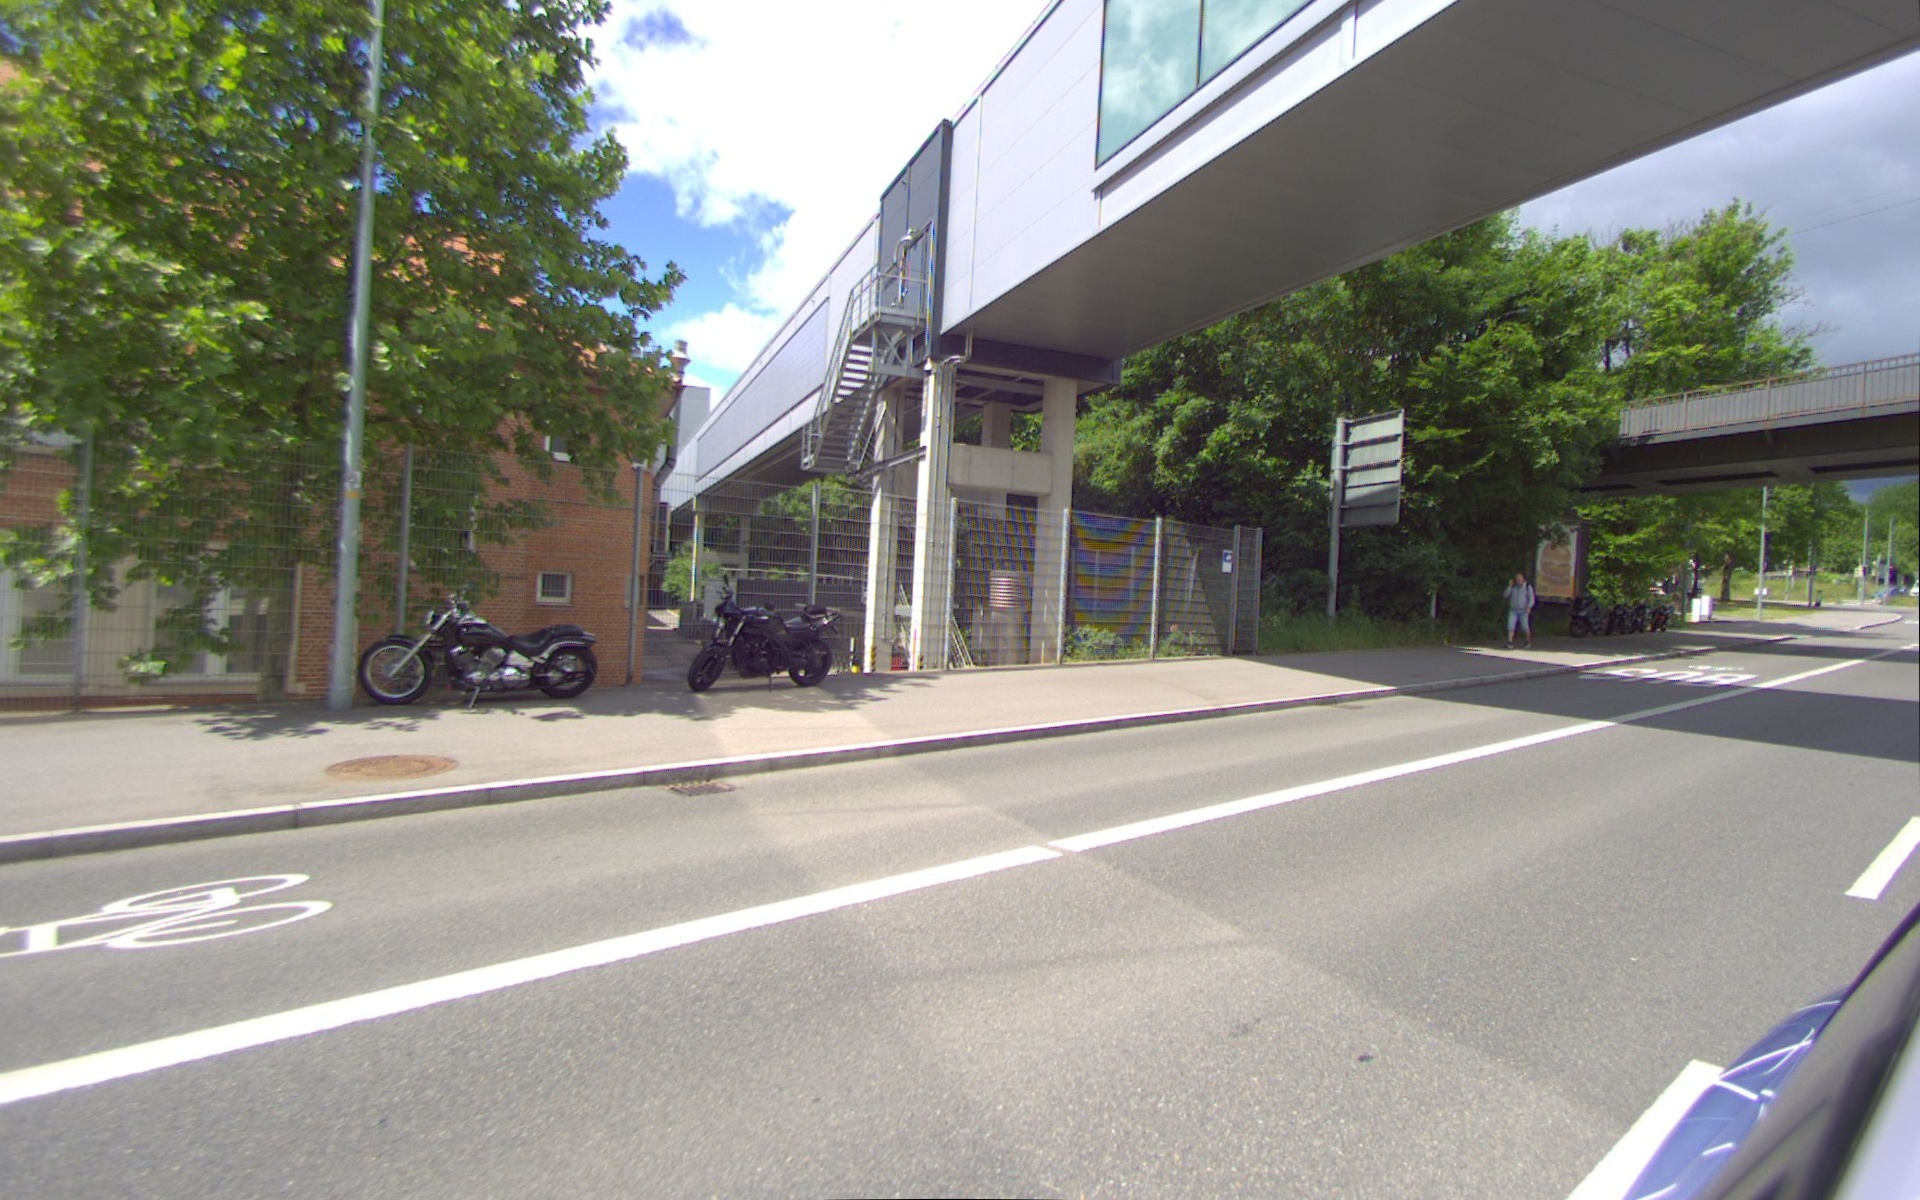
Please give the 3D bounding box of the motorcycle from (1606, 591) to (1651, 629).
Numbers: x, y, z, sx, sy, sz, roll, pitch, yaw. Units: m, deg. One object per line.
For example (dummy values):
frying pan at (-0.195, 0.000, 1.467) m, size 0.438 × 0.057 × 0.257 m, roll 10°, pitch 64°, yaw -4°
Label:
motorcycle at (21.733, 0.313, 32.897) m, size 2.123 × 1.157 × 0.679 m, roll 0°, pitch 2°, yaw -42°

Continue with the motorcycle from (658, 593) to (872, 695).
motorcycle at (-2.291, 0.482, 12.171) m, size 2.466 × 1.077 × 0.709 m, roll 0°, pitch 4°, yaw -41°

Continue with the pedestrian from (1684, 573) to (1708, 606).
pedestrian at (42.181, -0.598, 58.002) m, size 0.942 × 1.834 × 0.712 m, roll 2°, pitch 1°, yaw 27°

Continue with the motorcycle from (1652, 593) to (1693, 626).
motorcycle at (25.442, 0.331, 36.126) m, size 2.143 × 1.096 × 0.679 m, roll 0°, pitch 2°, yaw -42°

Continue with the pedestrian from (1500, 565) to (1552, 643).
pedestrian at (14.380, 0.094, 25.712) m, size 1.078 × 1.911 × 0.791 m, roll 0°, pitch 2°, yaw -41°

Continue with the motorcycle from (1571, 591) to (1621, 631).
motorcycle at (19.803, 0.335, 31.510) m, size 2.075 × 1.169 × 0.679 m, roll 0°, pitch 2°, yaw -40°

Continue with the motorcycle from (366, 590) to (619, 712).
motorcycle at (-4.669, 0.465, 10.223) m, size 2.208 × 1.077 × 0.670 m, roll 0°, pitch 4°, yaw -41°

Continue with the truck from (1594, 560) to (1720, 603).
truck at (69.254, -1.863, 100.886) m, size 2.733 × 4.055 × 10.097 m, roll 1°, pitch 1°, yaw -30°

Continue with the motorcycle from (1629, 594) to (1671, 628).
motorcycle at (23.498, 0.361, 34.462) m, size 2.003 × 1.096 × 0.679 m, roll 0°, pitch 2°, yaw -42°
